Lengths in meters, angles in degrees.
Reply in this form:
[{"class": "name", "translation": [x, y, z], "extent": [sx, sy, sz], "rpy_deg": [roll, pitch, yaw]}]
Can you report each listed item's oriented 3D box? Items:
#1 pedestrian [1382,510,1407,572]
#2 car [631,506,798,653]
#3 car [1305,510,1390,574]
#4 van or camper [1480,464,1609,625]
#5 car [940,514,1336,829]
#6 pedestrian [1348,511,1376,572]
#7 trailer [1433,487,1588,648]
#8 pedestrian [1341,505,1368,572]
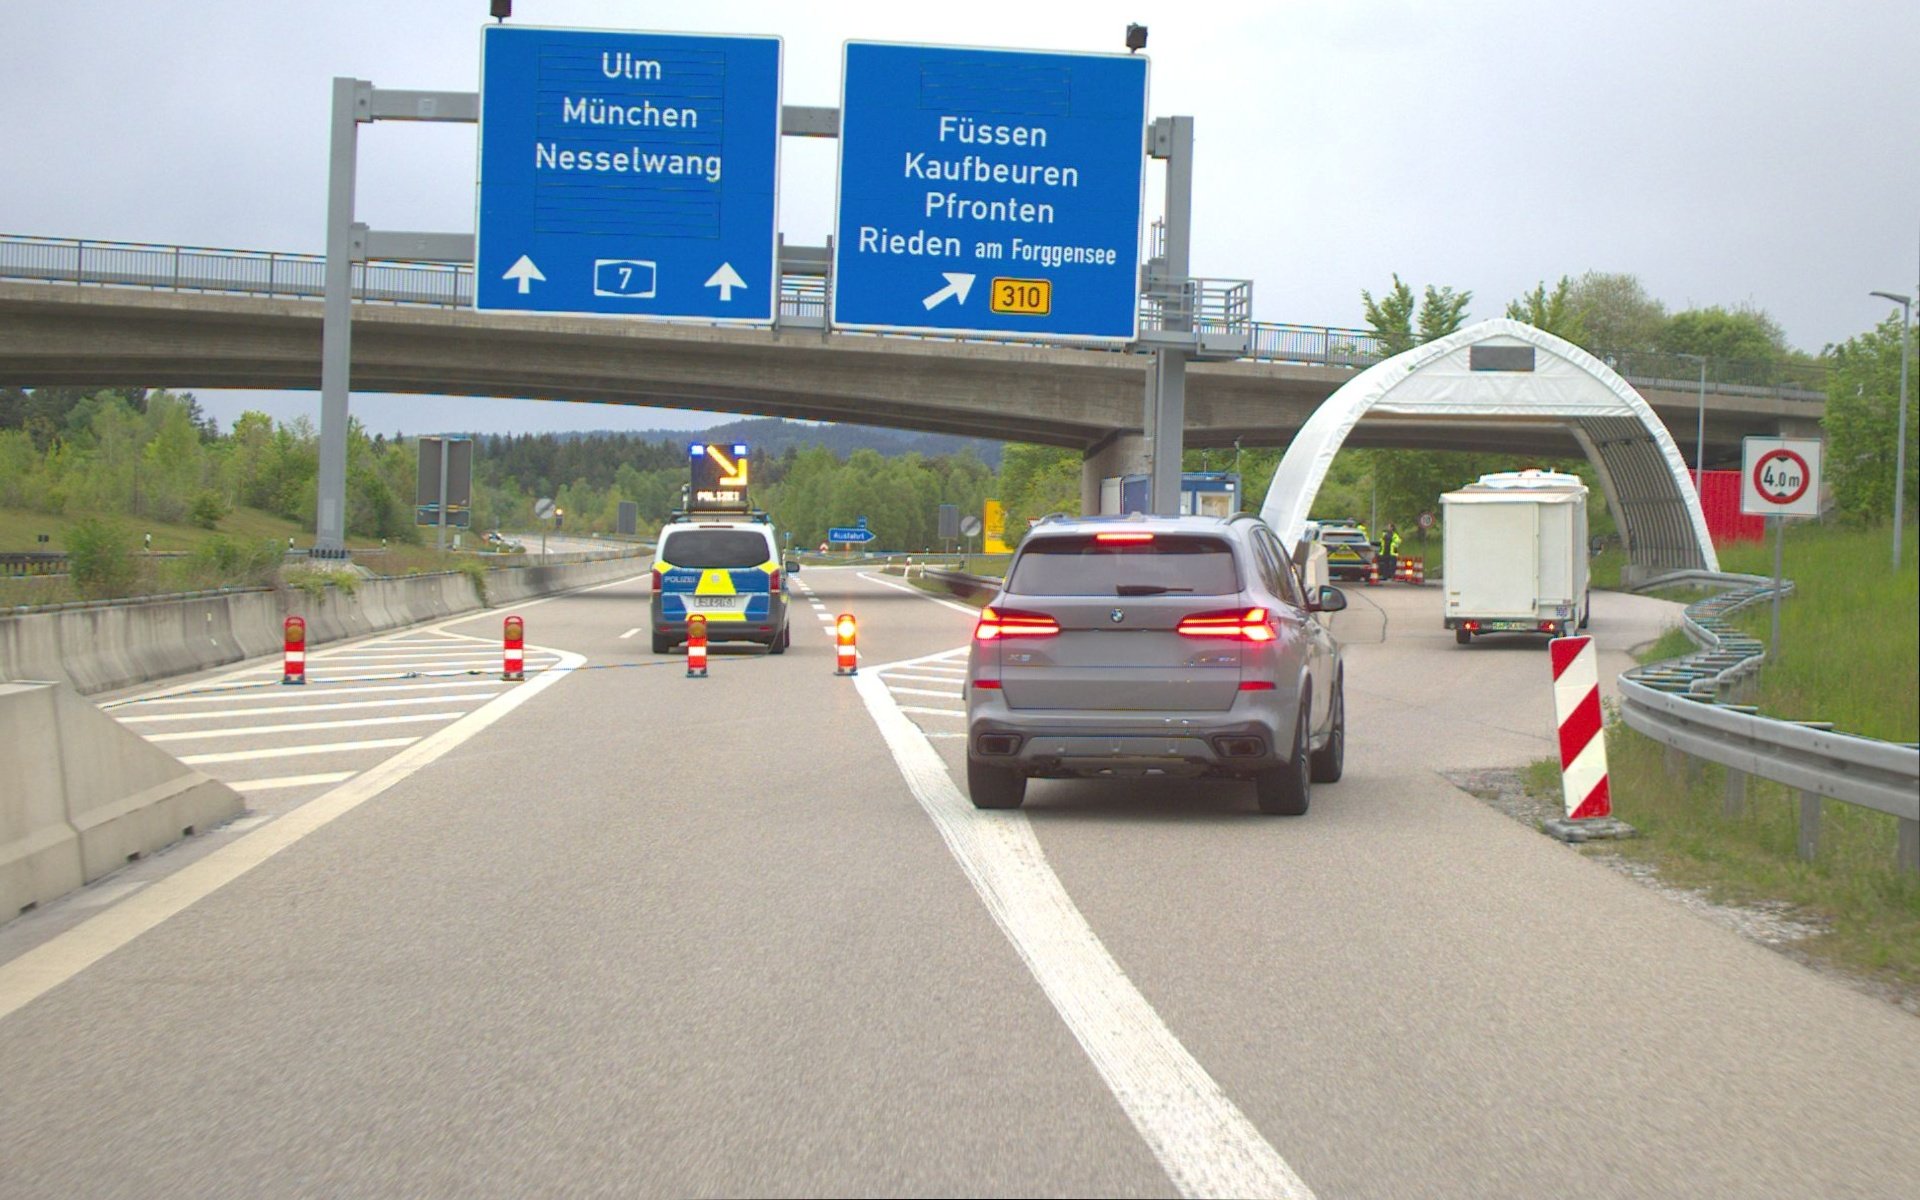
[{"class": "pedestrian", "translation": [12.609, -1.713, 99.705], "extent": [0.648, 1.769, 0.606], "rpy_deg": [0, 1, 0]}, {"class": "car", "translation": [-3.576, -0.357, 50.123], "extent": [2.286, 2.007, 5.051], "rpy_deg": [1, 2, -4]}, {"class": "car", "translation": [10.837, -1.629, 96.343], "extent": [1.993, 1.766, 3.765], "rpy_deg": [0, 1, 1]}, {"class": "van or camper", "translation": [10.550, -0.980, 61.903], "extent": [2.158, 2.754, 5.869], "rpy_deg": [1, 0, 10]}, {"class": "car", "translation": [1.191, 0.359, 20.977], "extent": [1.994, 1.713, 3.999], "rpy_deg": [1, 1, 9]}, {"class": "pedestrian", "translation": [11.547, -1.683, 98.761], "extent": [0.720, 1.769, 0.690], "rpy_deg": [0, 1, 2]}, {"class": "trailer", "translation": [8.982, -0.522, 55.663], "extent": [2.280, 2.422, 6.814], "rpy_deg": [1, 0, 11]}, {"class": "pedestrian", "translation": [11.425, -1.787, 99.626], "extent": [0.720, 1.939, 0.690], "rpy_deg": [0, 1, 2]}]
